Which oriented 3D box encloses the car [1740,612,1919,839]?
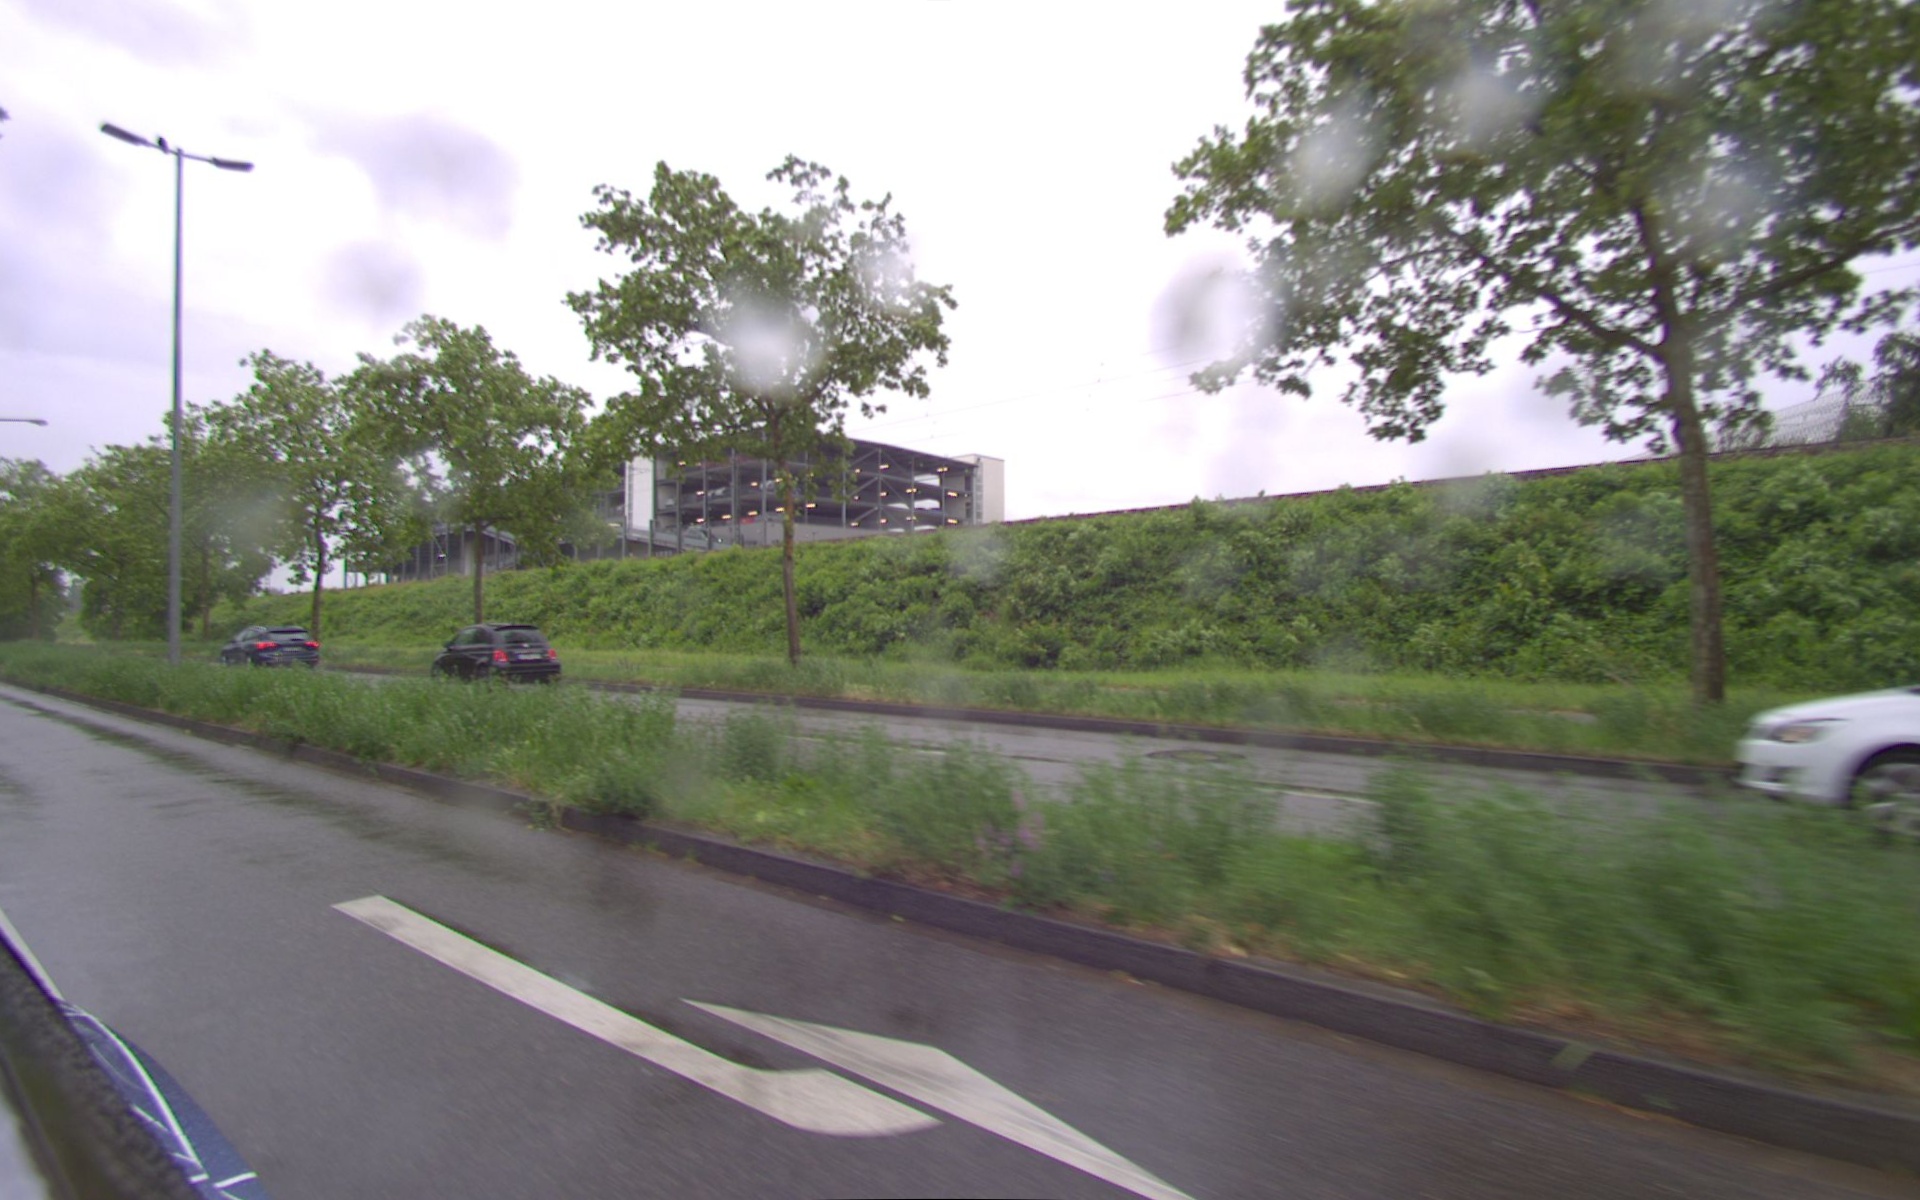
[{"bbox_3d":[7.886,0.789,6.326,4.655,1.456,1.911,-1,-1,41],"label":"car"}]

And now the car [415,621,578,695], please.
[{"bbox_3d":[-10.237,1.215,22.252,3.705,1.456,1.911,-2,-1,41],"label":"car"}]

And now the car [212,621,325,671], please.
[{"bbox_3d":[-21.940,1.423,32.045,4.494,1.456,1.911,-1,-1,41],"label":"car"}]
